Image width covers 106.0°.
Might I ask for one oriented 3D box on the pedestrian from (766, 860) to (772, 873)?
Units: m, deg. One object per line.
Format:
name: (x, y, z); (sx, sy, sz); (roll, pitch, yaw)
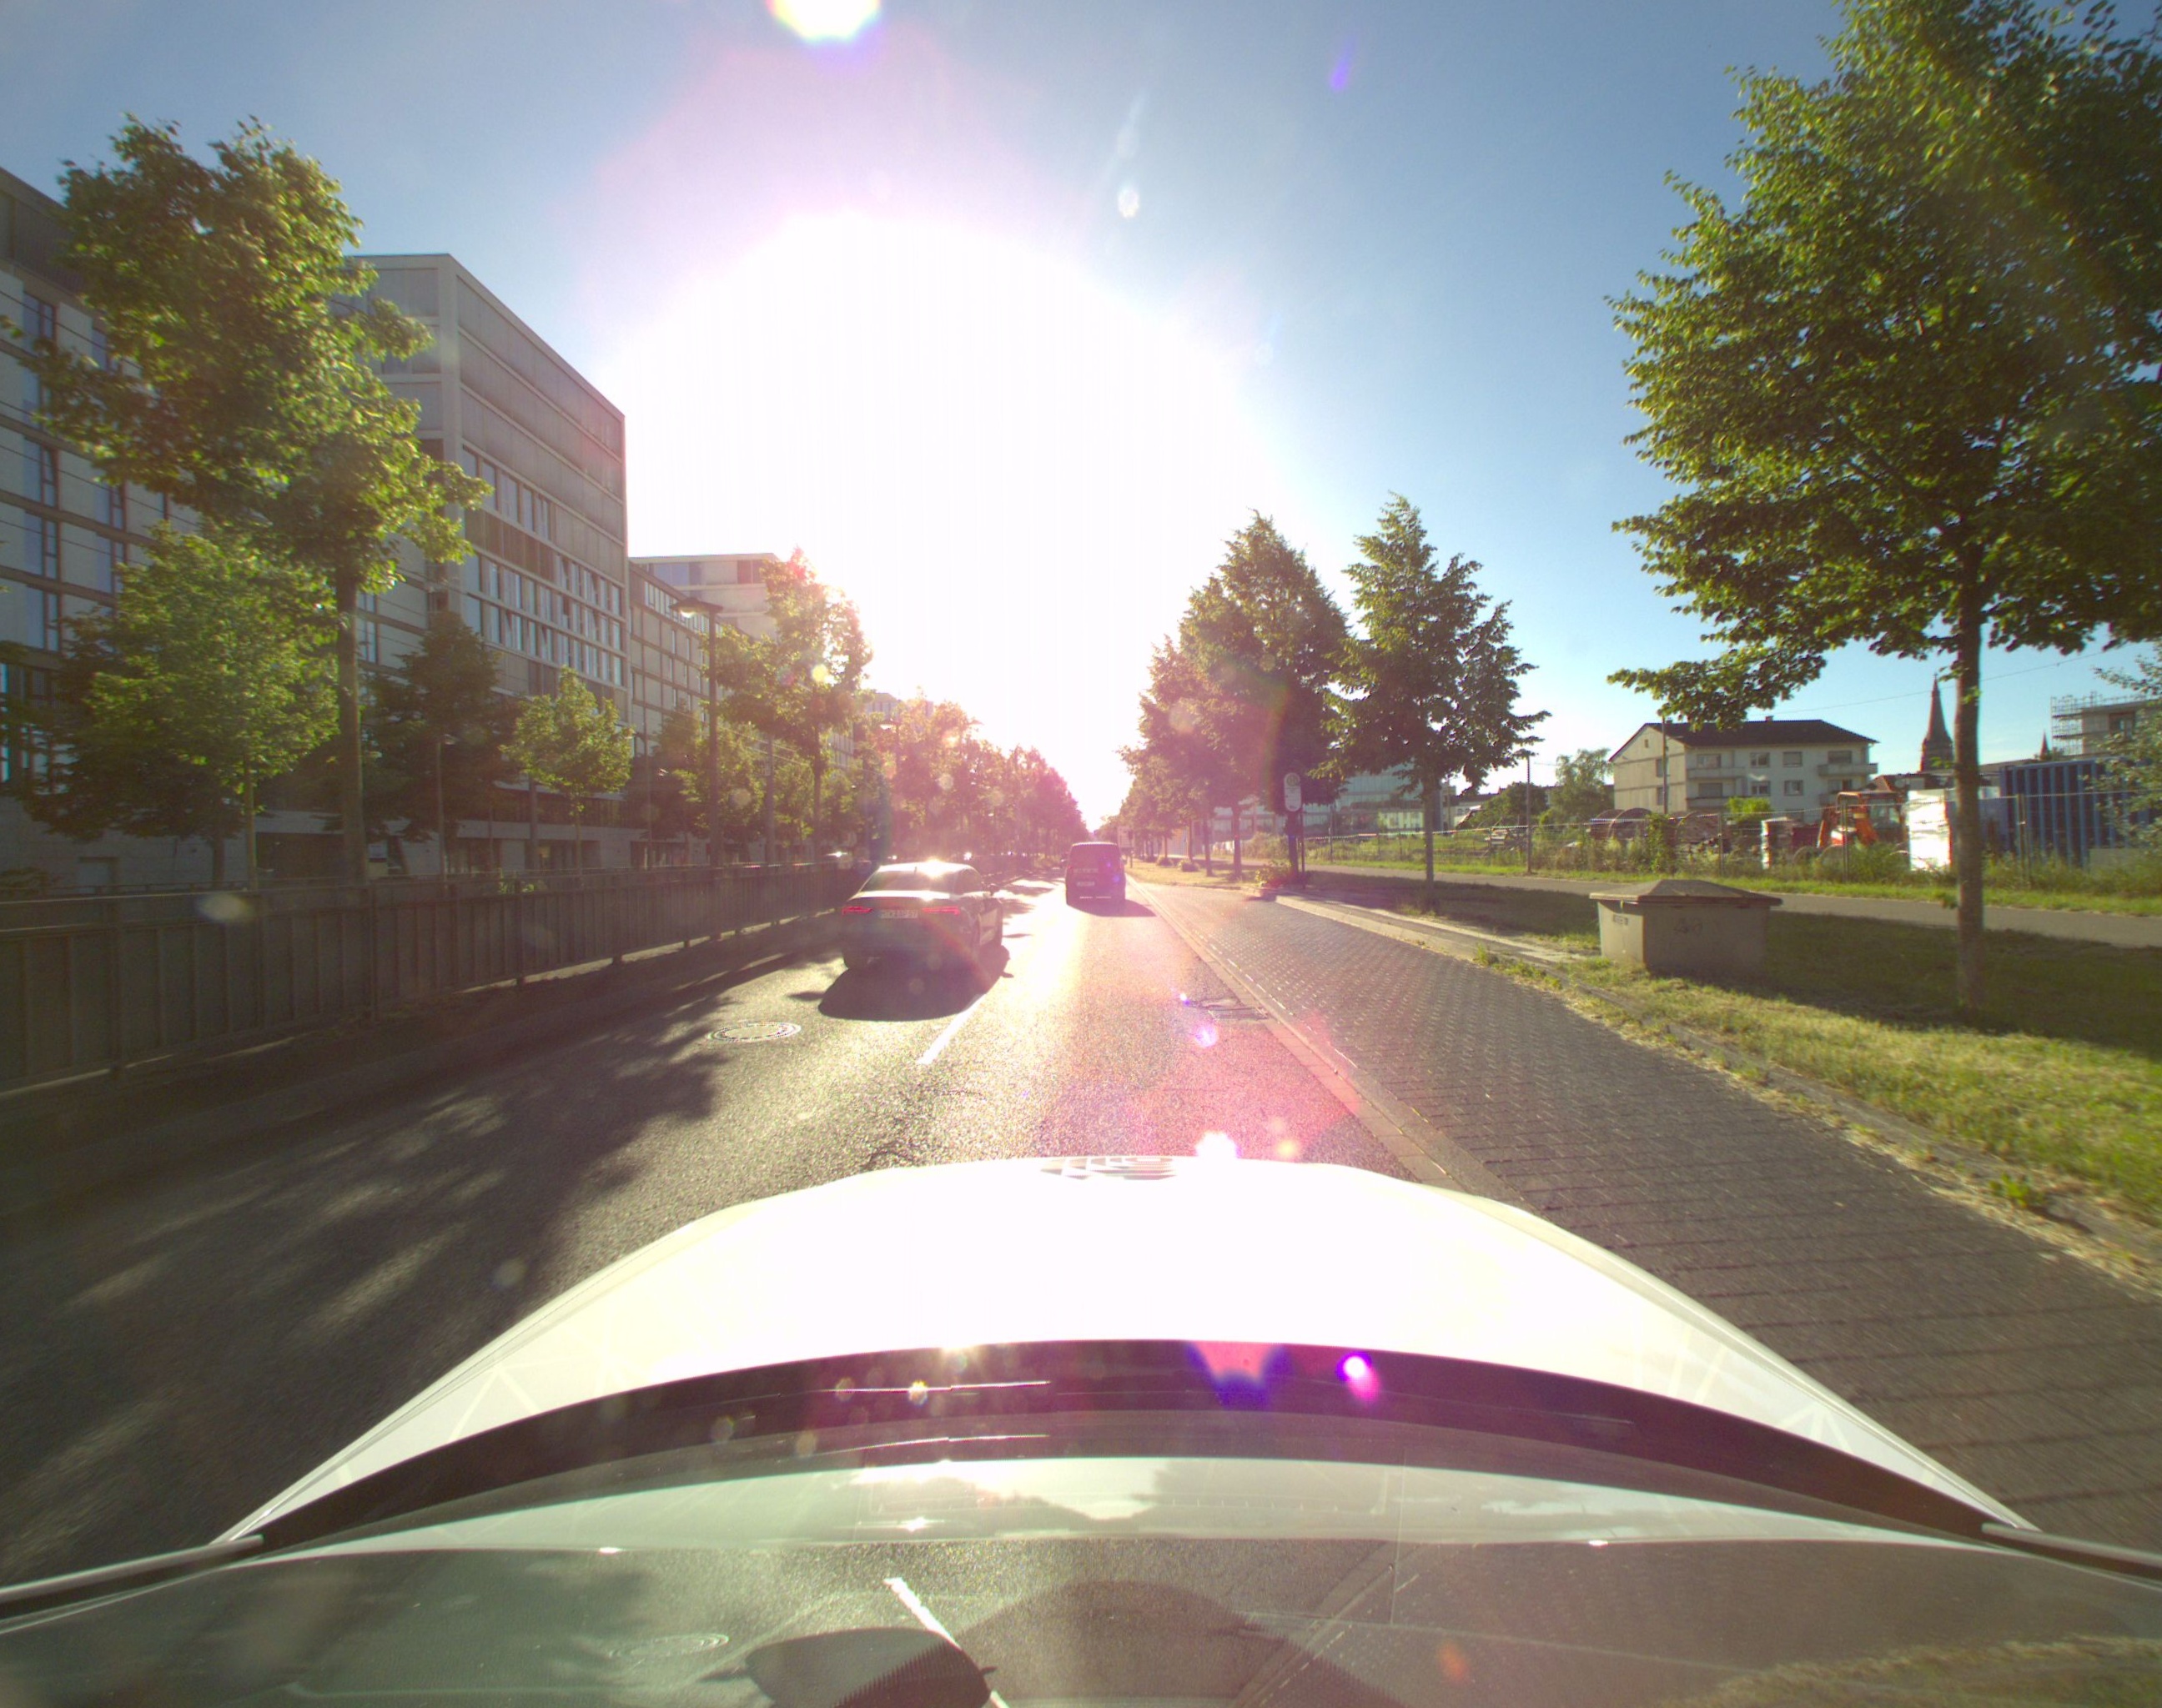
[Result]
pedestrian: (-35.542, 1.450, 92.869); (0.406, 1.413, 0.690); (-1, -2, 1)

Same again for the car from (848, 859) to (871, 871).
car: (-28.784, 1.408, 105.917); (1.662, 1.420, 4.806); (-2, 0, 1)

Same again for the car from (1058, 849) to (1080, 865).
car: (-1.096, 0.267, 74.780); (1.936, 1.441, 3.999); (-2, 0, -1)

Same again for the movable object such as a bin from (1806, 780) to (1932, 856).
movable object such as a bin: (22.302, -0.985, 23.125); (1.788, 2.014, 1.790); (-1, -2, 2)

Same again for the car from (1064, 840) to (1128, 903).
car: (0.418, 0.470, 25.085); (1.792, 1.777, 3.999); (0, 0, -1)

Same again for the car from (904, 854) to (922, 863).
car: (-27.367, 0.729, 132.785); (1.709, 1.420, 4.546); (-2, 0, 2)

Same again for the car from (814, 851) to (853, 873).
car: (-21.392, 0.697, 70.634); (1.986, 1.750, 4.228); (-2, 0, 1)

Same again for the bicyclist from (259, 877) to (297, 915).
bicyclist: (-32.655, 1.709, 33.127); (0.717, 1.463, 0.832); (-1, 0, 3)

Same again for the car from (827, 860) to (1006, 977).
car: (-2.198, 0.797, 12.009); (1.715, 1.366, 4.147); (0, 0, 1)

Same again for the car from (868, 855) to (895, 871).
car: (-20.353, 0.906, 83.243); (1.673, 1.520, 3.701); (-2, 0, 1)
